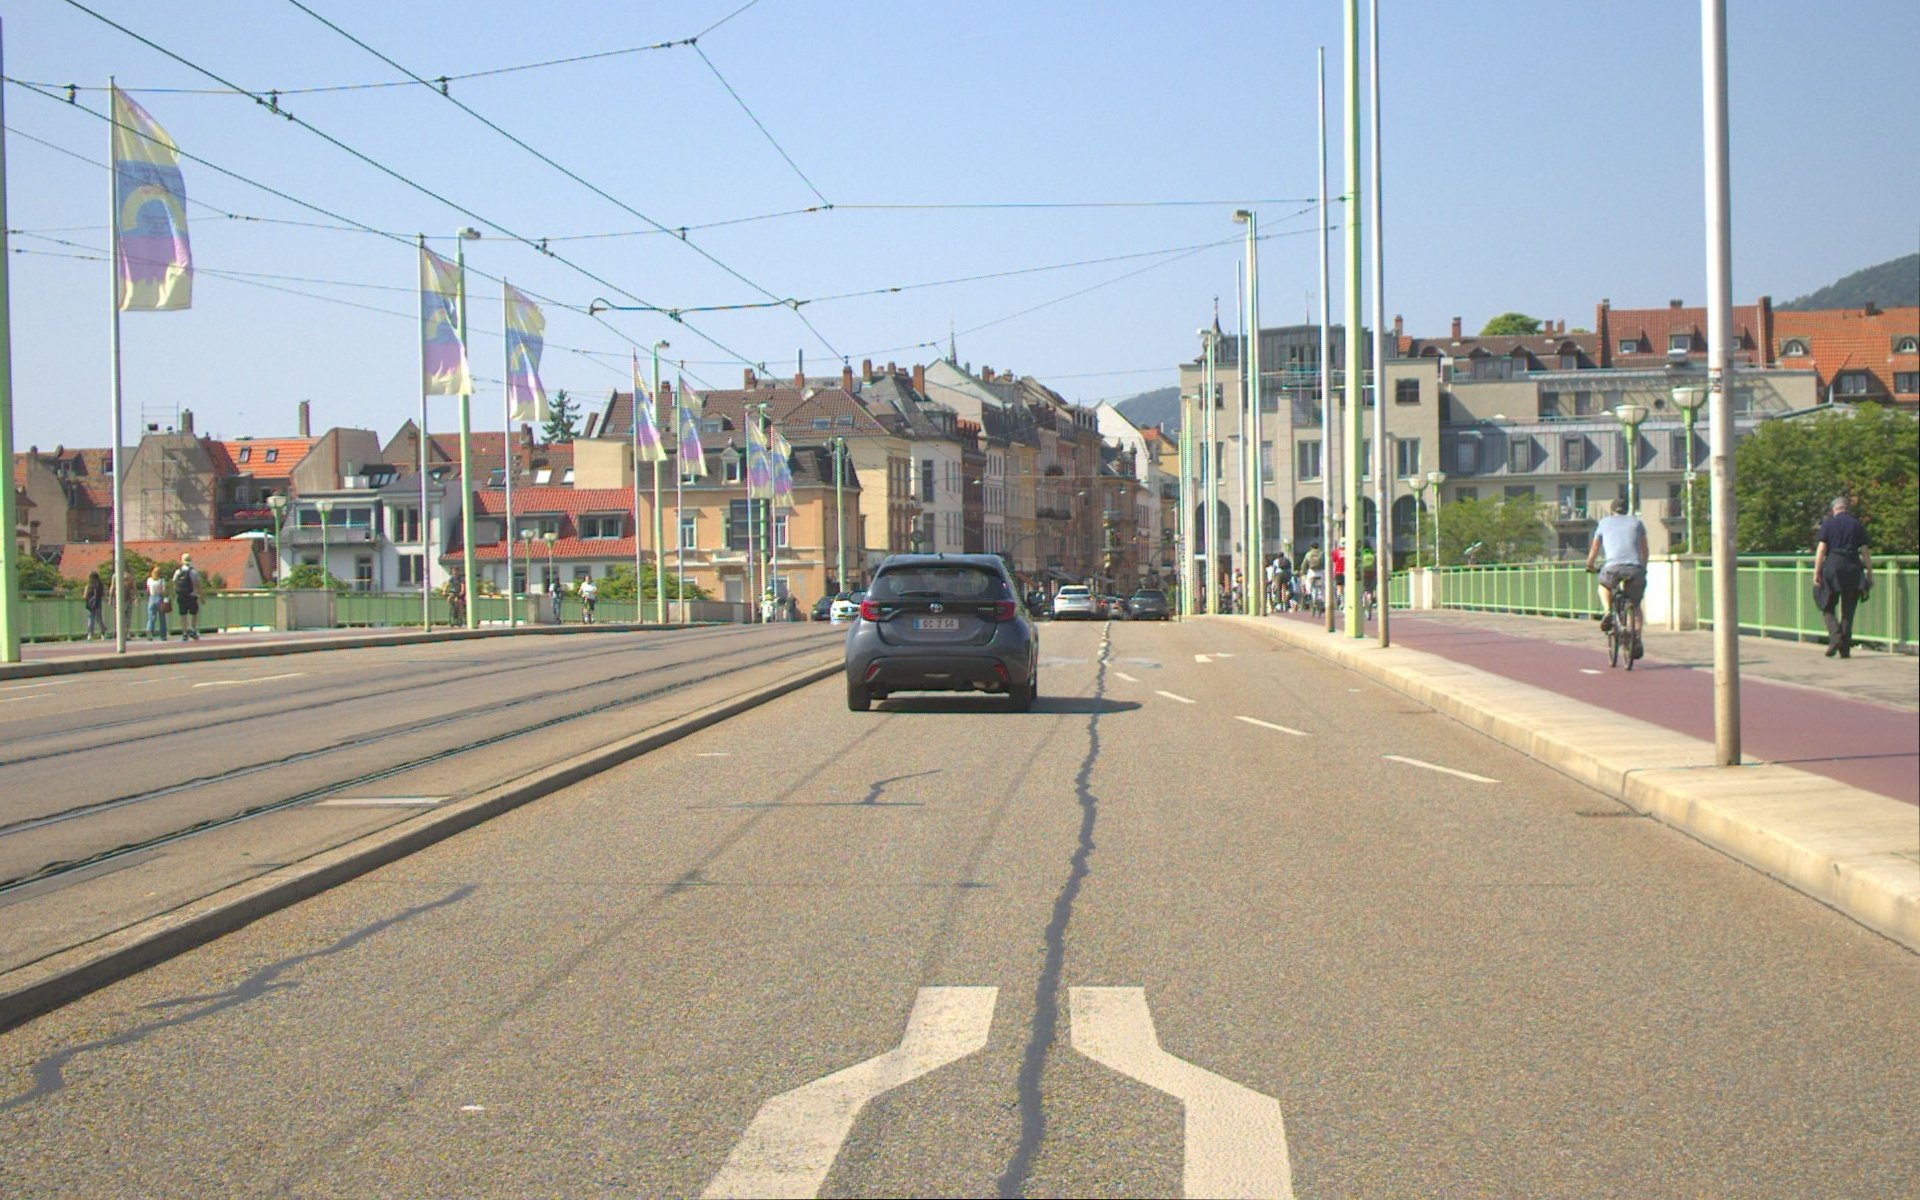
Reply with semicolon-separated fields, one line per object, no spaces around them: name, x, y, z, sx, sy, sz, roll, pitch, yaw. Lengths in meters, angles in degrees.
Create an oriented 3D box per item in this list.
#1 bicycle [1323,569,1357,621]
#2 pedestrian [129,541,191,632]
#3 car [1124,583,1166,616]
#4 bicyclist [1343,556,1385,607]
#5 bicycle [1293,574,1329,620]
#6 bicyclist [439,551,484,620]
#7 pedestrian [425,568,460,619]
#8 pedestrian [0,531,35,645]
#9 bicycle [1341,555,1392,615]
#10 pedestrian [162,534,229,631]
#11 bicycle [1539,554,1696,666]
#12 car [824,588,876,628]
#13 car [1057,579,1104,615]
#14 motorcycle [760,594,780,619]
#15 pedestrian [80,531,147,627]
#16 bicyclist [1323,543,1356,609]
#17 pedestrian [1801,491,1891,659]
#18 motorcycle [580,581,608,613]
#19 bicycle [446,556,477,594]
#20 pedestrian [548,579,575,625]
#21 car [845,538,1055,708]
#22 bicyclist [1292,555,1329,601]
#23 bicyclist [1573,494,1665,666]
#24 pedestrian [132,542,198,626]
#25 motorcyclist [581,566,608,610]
bicycle;9.495;-0.124;85.860;0.618;1.266;2.216;-1;0;1
pedestrian;-17.933;-0.316;77.118;1.097;2.007;1.129;-1;1;0
car;8.724;-0.032;161.844;1.804;1.464;3.999;-2;0;5
bicyclist;8.274;-0.378;70.447;0.666;1.041;0.980;-1;0;-4
bicycle;8.008;-0.072;78.489;0.618;1.034;2.051;-1;0;1
bicyclist;-14.395;-0.422;99.294;1.097;1.954;1.129;-1;1;0
pedestrian;-16.753;-0.213;111.300;0.899;1.652;1.028;0;0;5
pedestrian;-17.070;-0.220;61.137;0.968;2.007;1.101;-1;1;-3
bicycle;8.305;-0.296;70.300;0.695;1.189;2.079;-1;0;-2
pedestrian;-16.091;-0.379;72.370;1.097;2.007;1.295;-1;1;0
bicycle;6.821;0.081;35.890;0.792;1.092;3.745;-1;1;-2
car;-4.883;0.341;151.916;1.993;1.404;4.548;-6;3;-4
car;5.210;-0.115;148.875;1.804;1.464;4.000;-2;0;0
motorcycle;-8.422;0.292;152.547;0.701;1.106;2.179;-1;0;2
pedestrian;-17.838;-0.453;72.447;1.097;2.007;1.129;-1;1;0
bicyclist;9.491;-0.602;85.976;0.735;1.630;0.867;-1;0;1
pedestrian;9.321;-0.277;36.185;0.654;1.738;0.978;-1;2;-3
motorcycle;-13.011;-0.102;122.248;0.701;1.106;2.179;-1;0;2
bicycle;-14.400;-0.730;99.298;0.588;1.093;2.113;0;1;0
pedestrian;-15.054;0.058;129.972;0.830;1.716;1.094;-1;0;3
car;-0.083;0.175;33.450;1.910;1.535;4.000;0;1;0
bicyclist;7.996;-0.509;78.414;0.735;1.027;1.175;-1;0;1
bicyclist;6.820;-0.214;35.625;0.673;1.738;1.150;-1;1;-2
pedestrian;-16.653;-0.344;72.032;1.097;1.723;1.295;0;1;0
motorcyclist;-12.995;-0.426;122.265;0.800;1.544;1.069;-1;0;2
